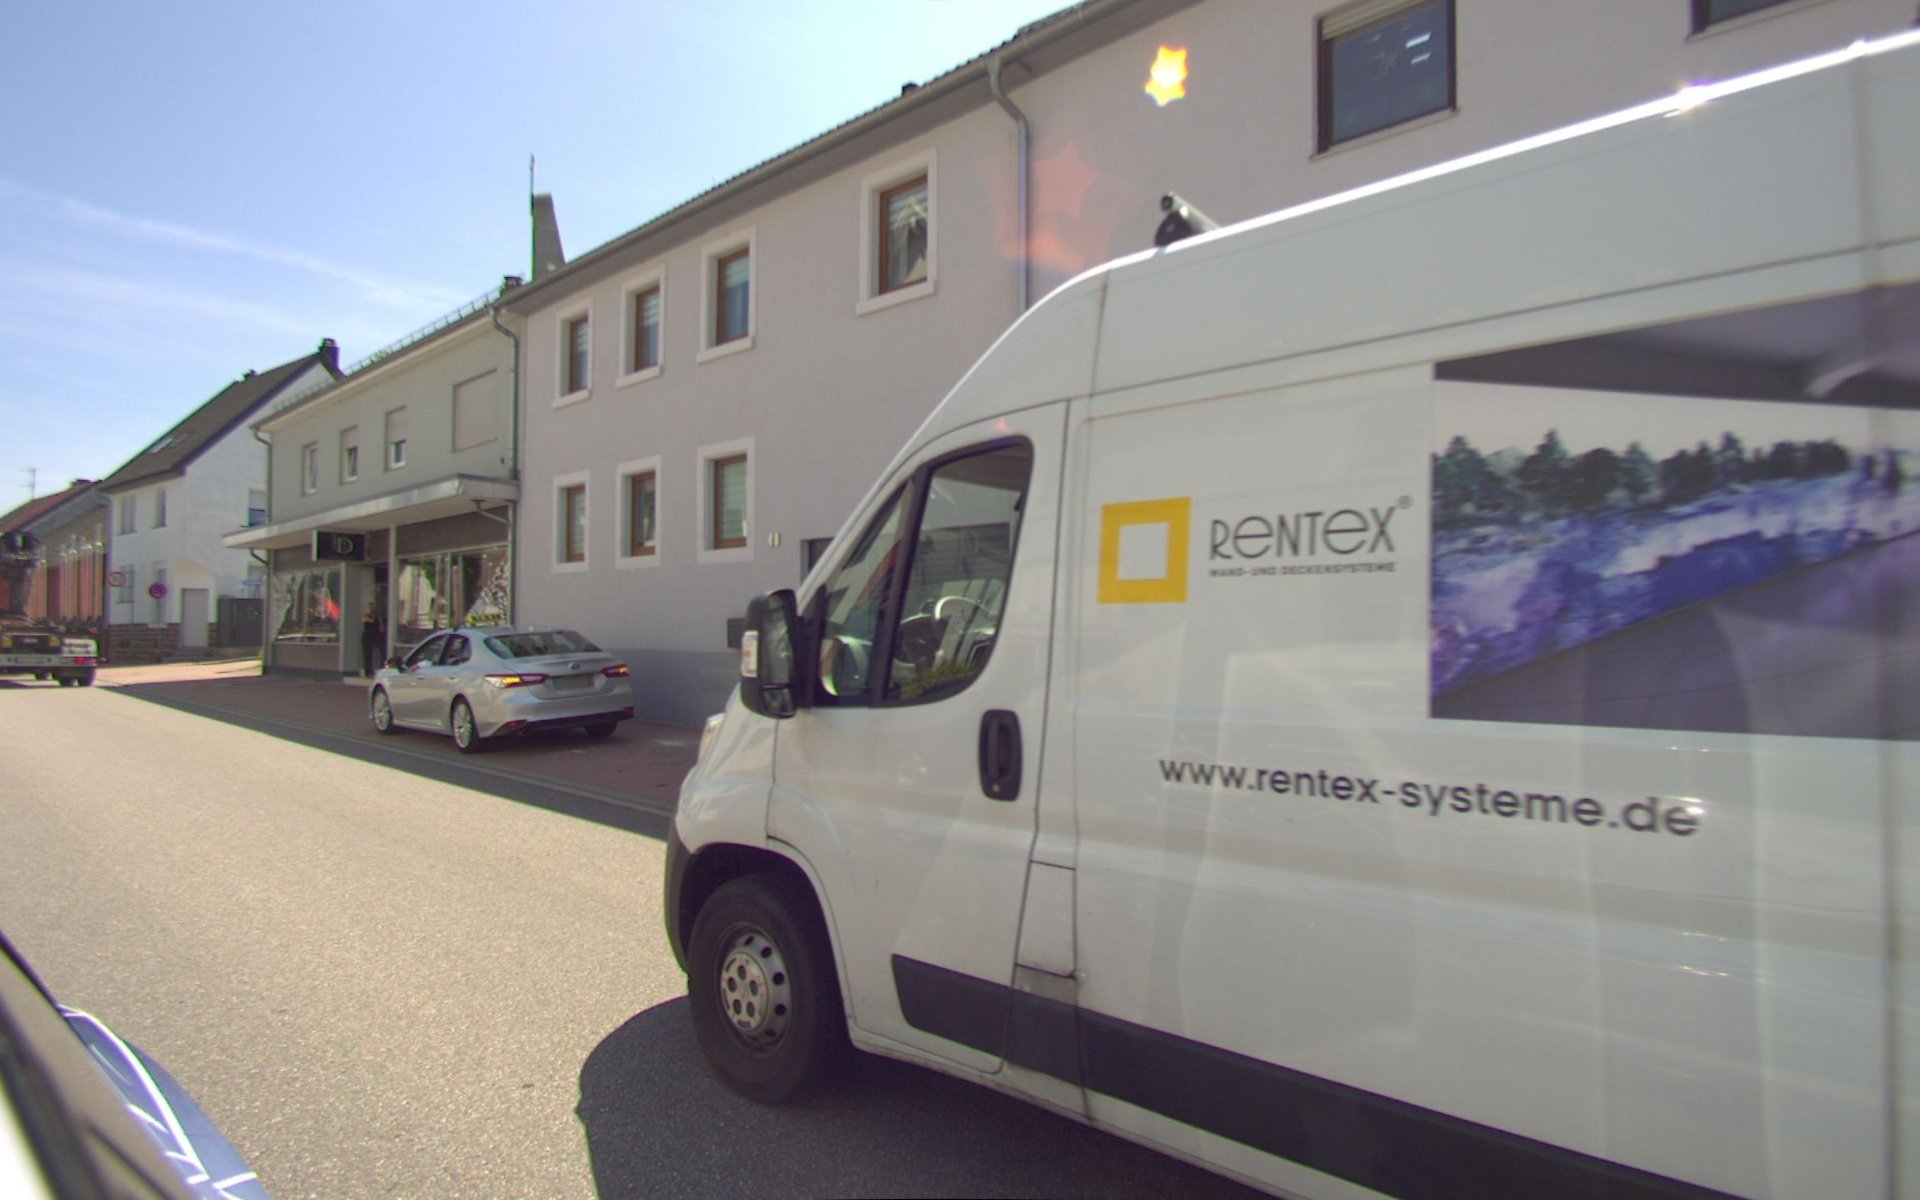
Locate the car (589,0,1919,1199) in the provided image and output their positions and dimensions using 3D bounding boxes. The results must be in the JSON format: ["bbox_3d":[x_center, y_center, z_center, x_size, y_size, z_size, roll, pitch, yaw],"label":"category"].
[{"bbox_3d":[1.415,0.253,2.652,5.459,2.562,2.102,-2,-4,42],"label":"car"}]

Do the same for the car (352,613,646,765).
[{"bbox_3d":[-6.026,0.999,12.943,4.564,1.569,1.789,-2,0,43],"label":"car"}]

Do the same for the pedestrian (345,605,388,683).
[{"bbox_3d":[-13.349,0.978,22.747,0.771,1.697,0.618,-2,-2,41],"label":"pedestrian"}]

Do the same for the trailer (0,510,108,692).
[{"bbox_3d":[-26.717,0.179,27.920,15.694,4.010,2.602,-1,-4,42],"label":"trailer"}]

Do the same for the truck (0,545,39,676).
[{"bbox_3d":[-32.319,0.348,32.957,6.850,4.016,2.590,-1,-4,42],"label":"truck"}]

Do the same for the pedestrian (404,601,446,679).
[{"bbox_3d":[-11.933,0.882,22.600,0.655,1.726,0.632,0,0,-7],"label":"pedestrian"}]
